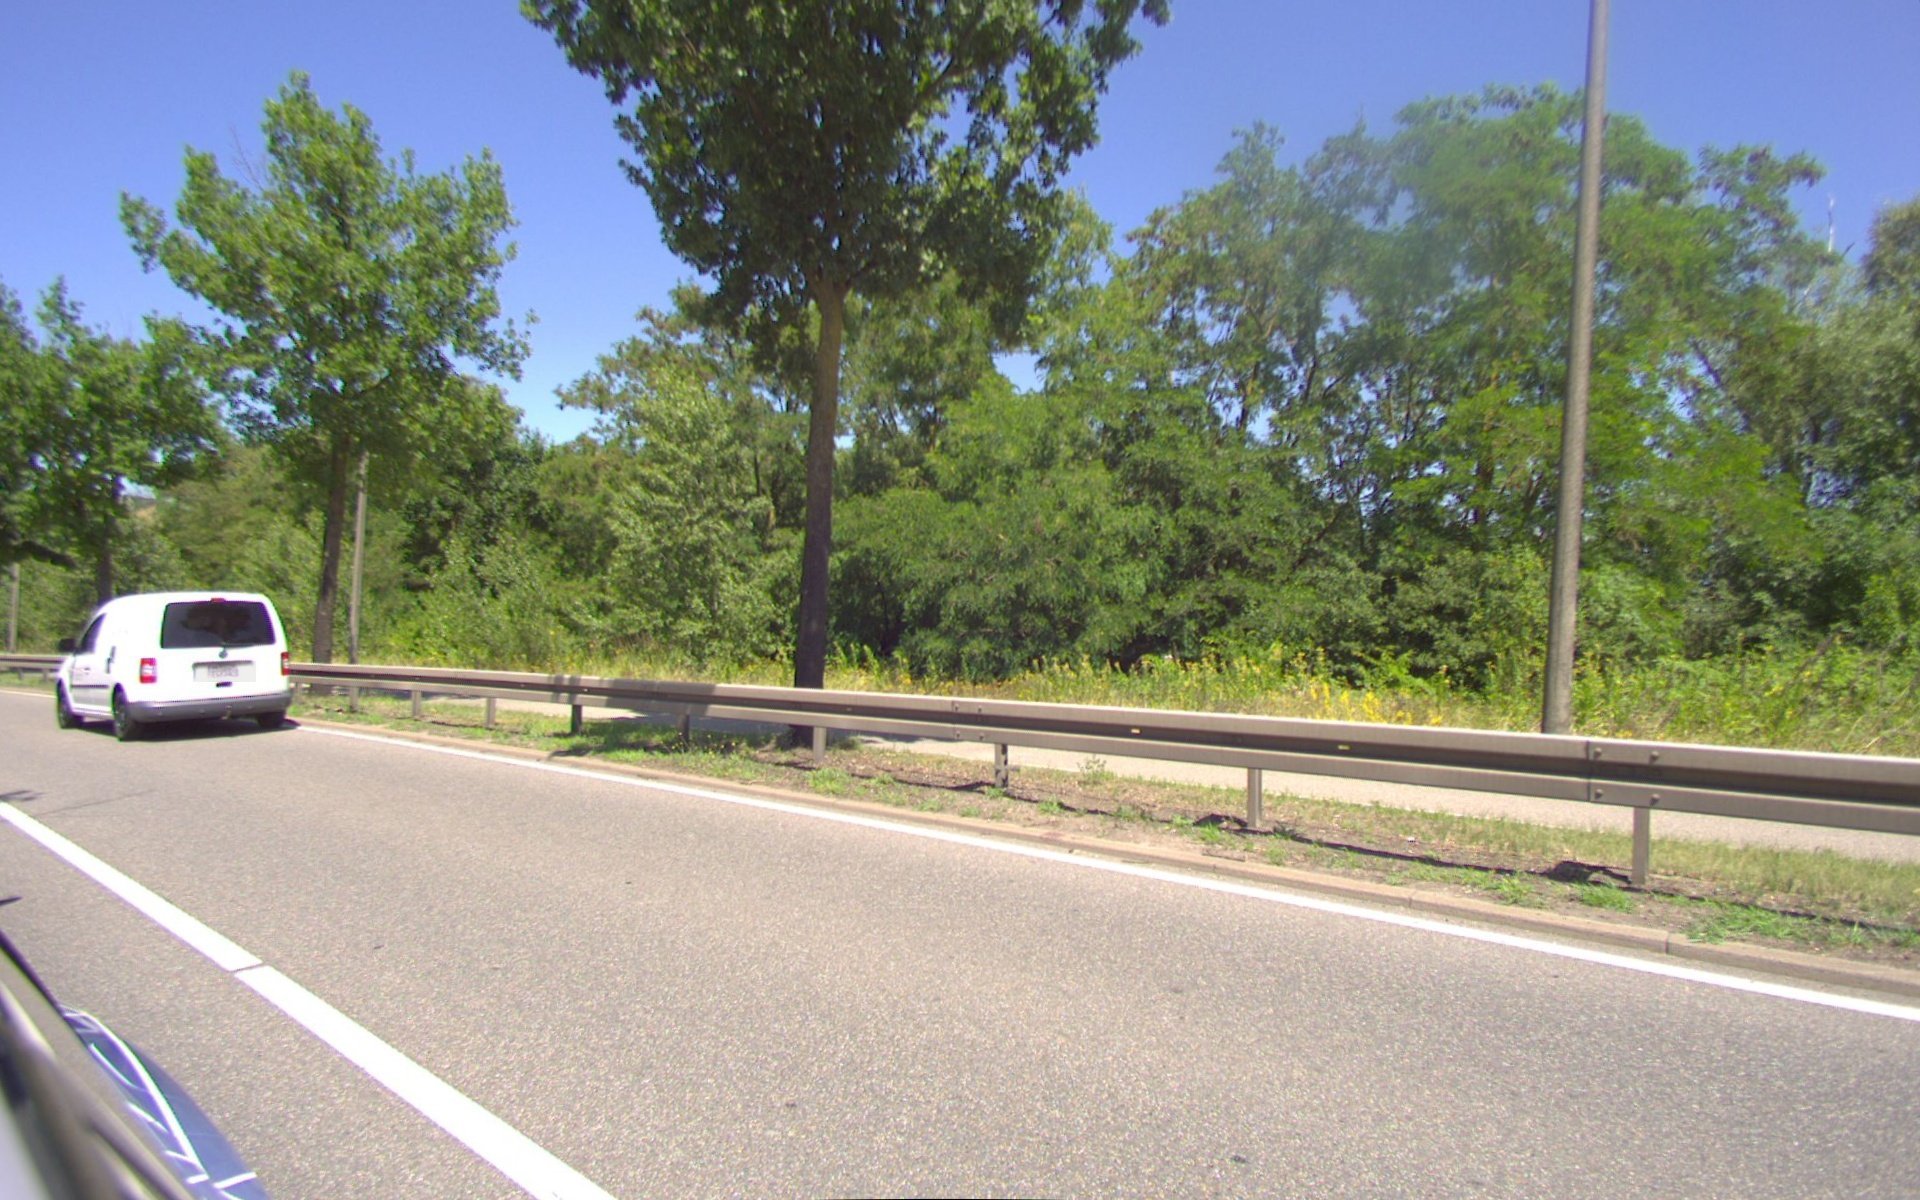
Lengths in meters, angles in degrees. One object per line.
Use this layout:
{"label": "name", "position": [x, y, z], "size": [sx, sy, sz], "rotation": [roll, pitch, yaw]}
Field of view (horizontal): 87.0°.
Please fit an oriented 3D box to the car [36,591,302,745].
{"label": "car", "position": [-10.756, 0.812, 13.654], "size": [4.380, 1.776, 1.730], "rotation": [-1, 0, 37]}
